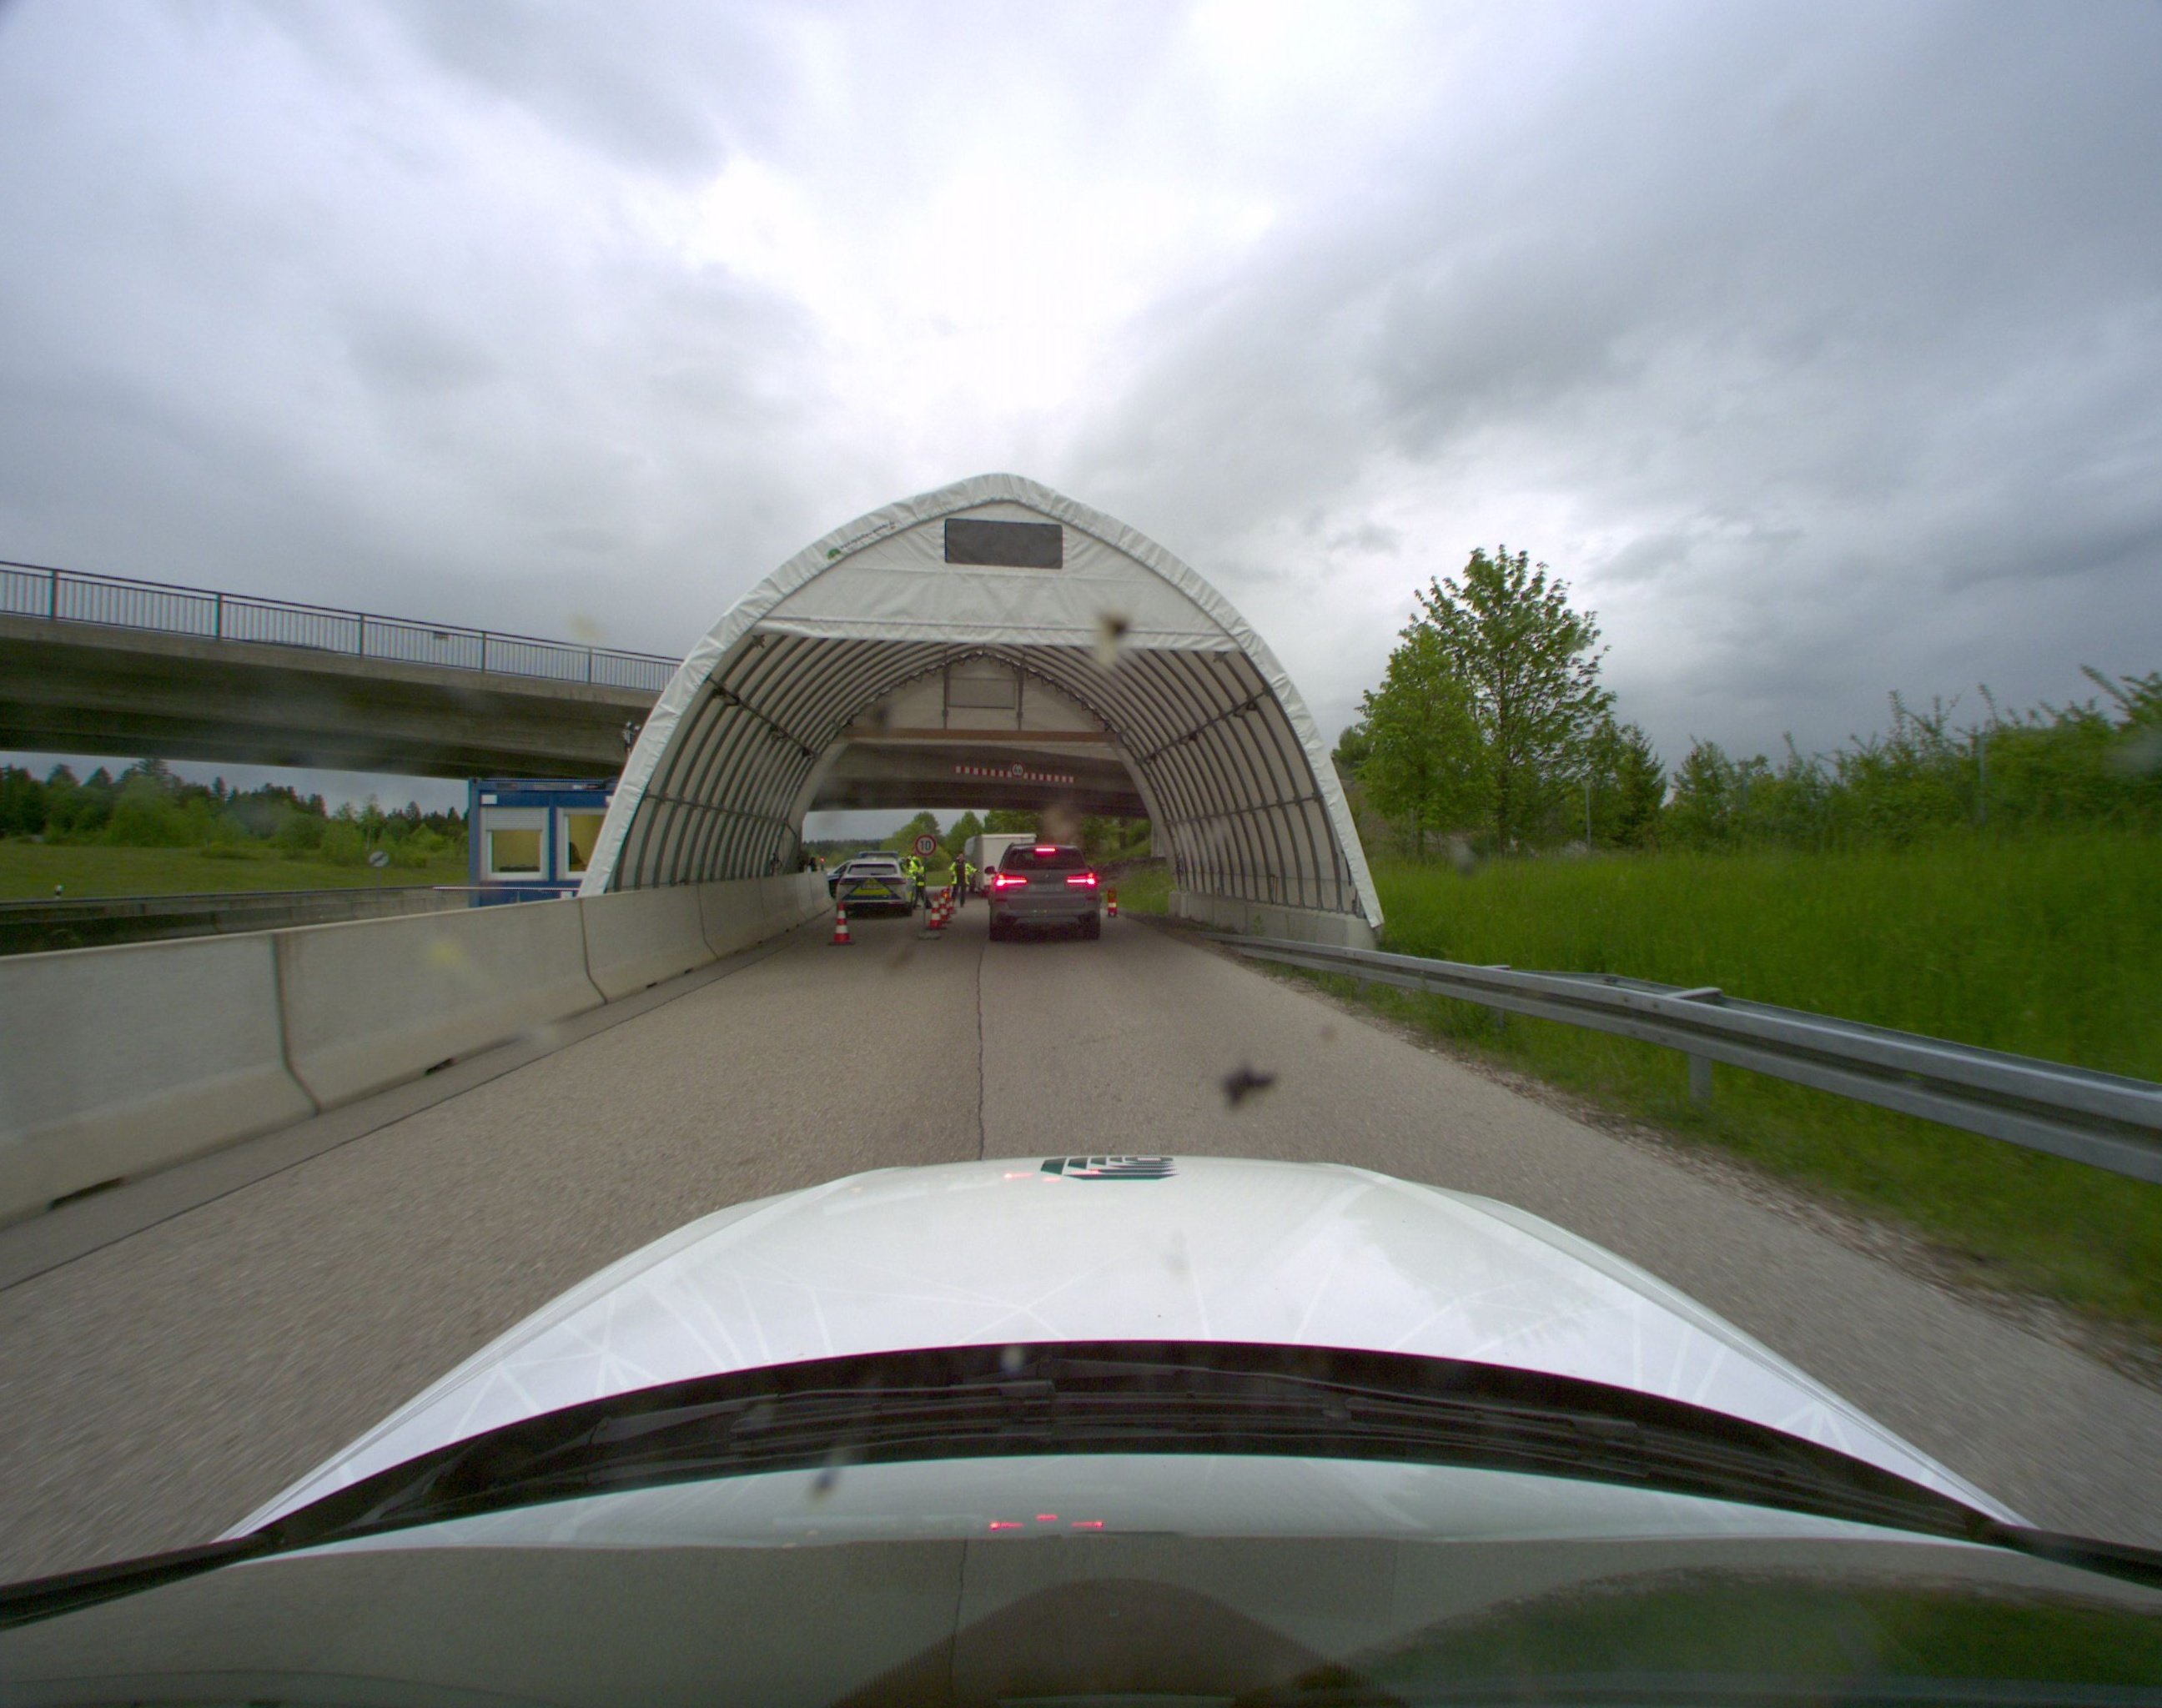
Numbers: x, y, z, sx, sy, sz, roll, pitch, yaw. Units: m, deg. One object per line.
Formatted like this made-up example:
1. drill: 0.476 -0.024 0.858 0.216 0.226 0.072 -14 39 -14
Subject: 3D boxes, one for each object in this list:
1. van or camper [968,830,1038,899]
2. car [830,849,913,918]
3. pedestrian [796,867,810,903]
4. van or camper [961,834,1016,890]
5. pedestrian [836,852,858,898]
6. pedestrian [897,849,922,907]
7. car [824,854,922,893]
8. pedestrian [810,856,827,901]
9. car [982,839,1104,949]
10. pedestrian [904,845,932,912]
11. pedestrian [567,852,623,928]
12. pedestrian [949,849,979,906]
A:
1. van or camper: -3.390 0.425 34.058 2.231 2.552 6.586 -2 0 -11
2. car: -5.549 0.739 21.968 1.879 1.646 3.984 -2 0 -11
3. pedestrian: -11.915 1.321 34.904 0.503 1.546 0.460 -2 -1 -17
4. van or camper: -4.621 0.384 40.088 2.105 2.519 5.528 -1 0 -12
5. pedestrian: -10.373 0.929 36.057 0.698 2.014 0.693 -1 -1 2
6. pedestrian: -5.288 0.738 25.115 0.607 1.754 0.665 -2 -1 -3
7. car: -11.344 1.048 44.581 4.776 2.014 1.846 -2 -1 10
8. pedestrian: -12.000 1.113 37.228 0.625 2.014 0.653 -2 -1 -13
9. car: -0.826 0.679 15.619 1.991 1.765 3.991 -2 0 -6
10. pedestrian: -4.819 0.715 24.128 0.749 1.919 0.760 -2 -1 -12
11. pedestrian: -9.122 0.666 15.297 0.606 1.373 0.629 -2 -1 11
12. pedestrian: -3.622 0.722 25.205 0.781 1.722 0.752 -2 -1 -17
